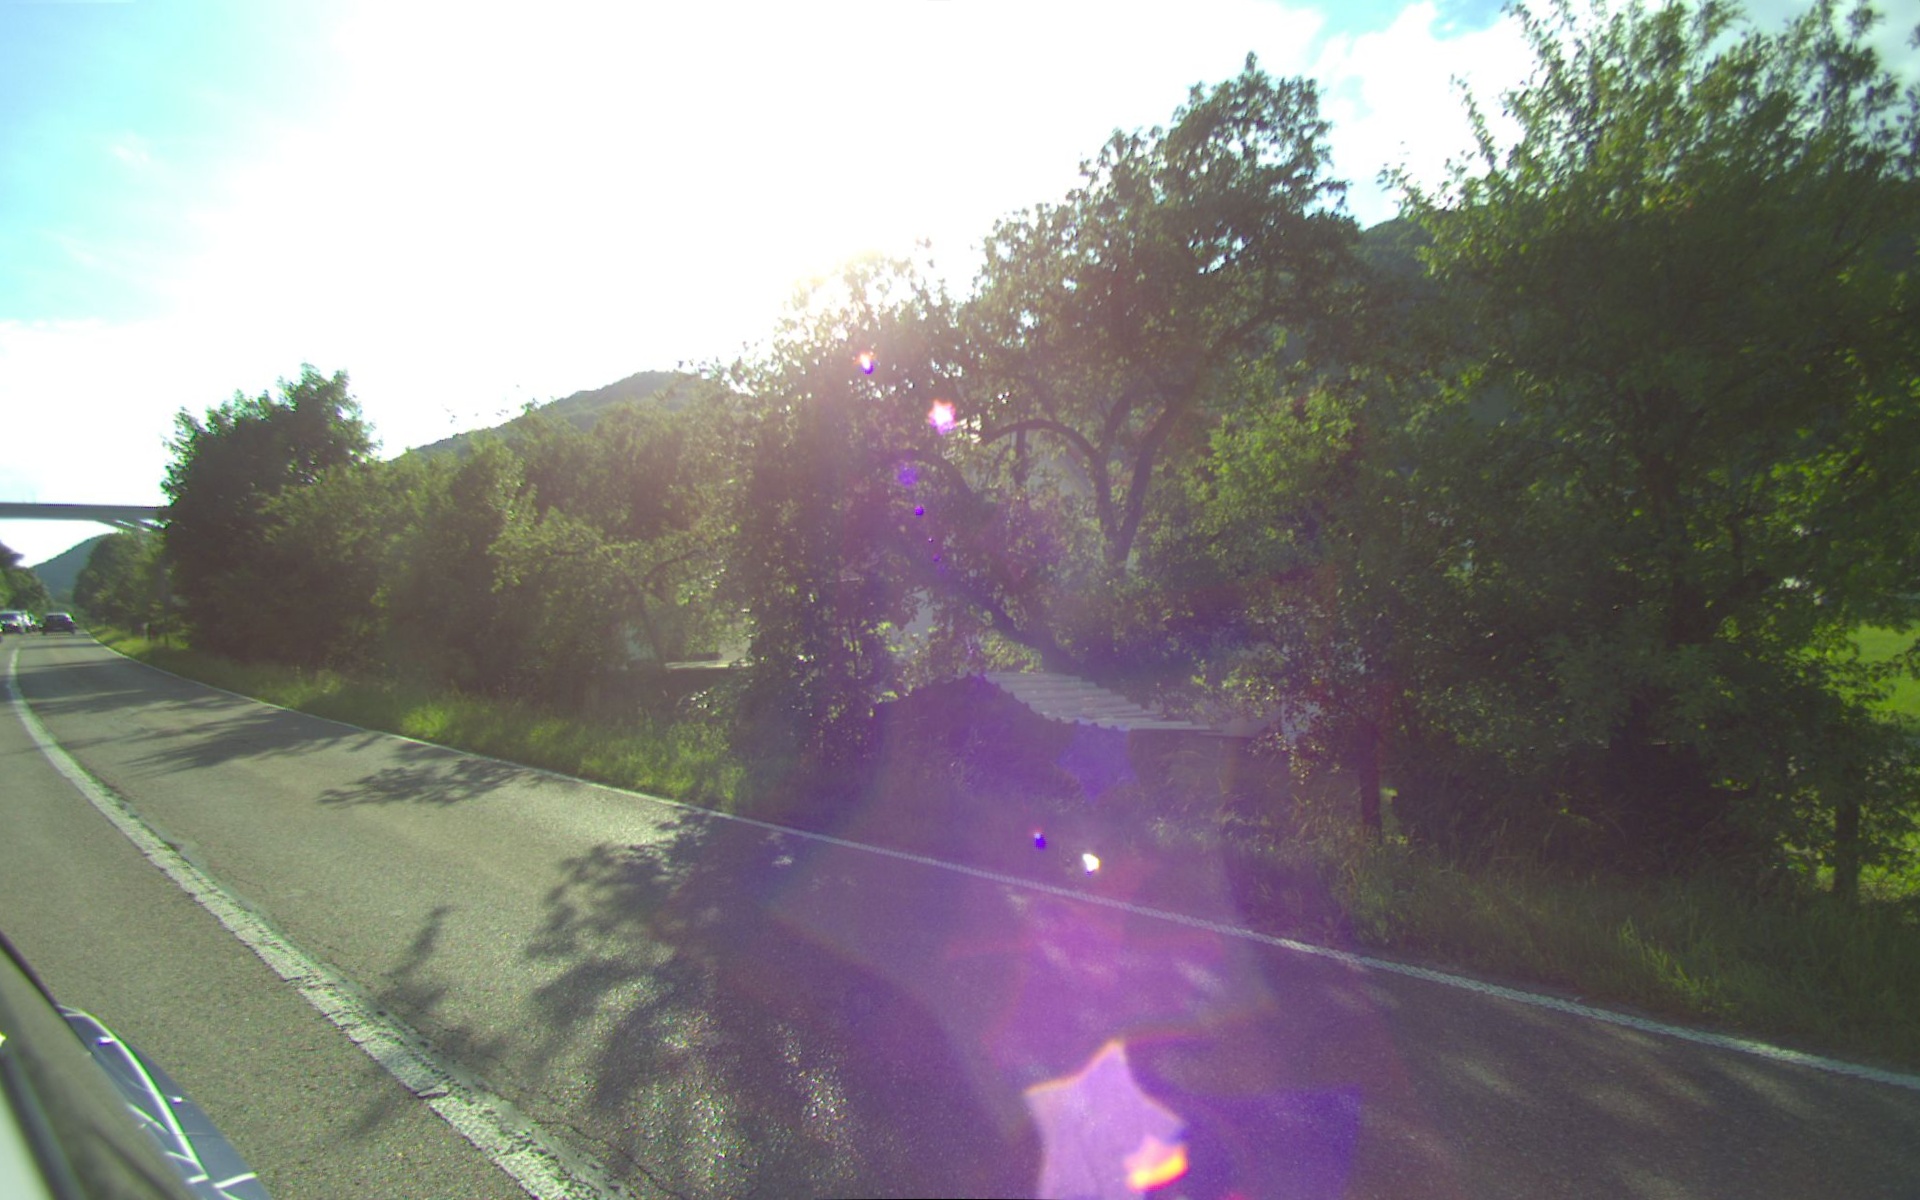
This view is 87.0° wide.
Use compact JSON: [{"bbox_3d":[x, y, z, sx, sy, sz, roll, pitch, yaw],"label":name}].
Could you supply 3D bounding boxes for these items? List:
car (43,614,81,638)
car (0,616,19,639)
[{"bbox_3d":[-62.101,1.764,69.952,1.793,1.630,3.808,1,-2,-44],"label":"car"},{"bbox_3d":[-70.159,1.985,73.945,1.791,1.630,4.007,1,-2,-40],"label":"car"}]
